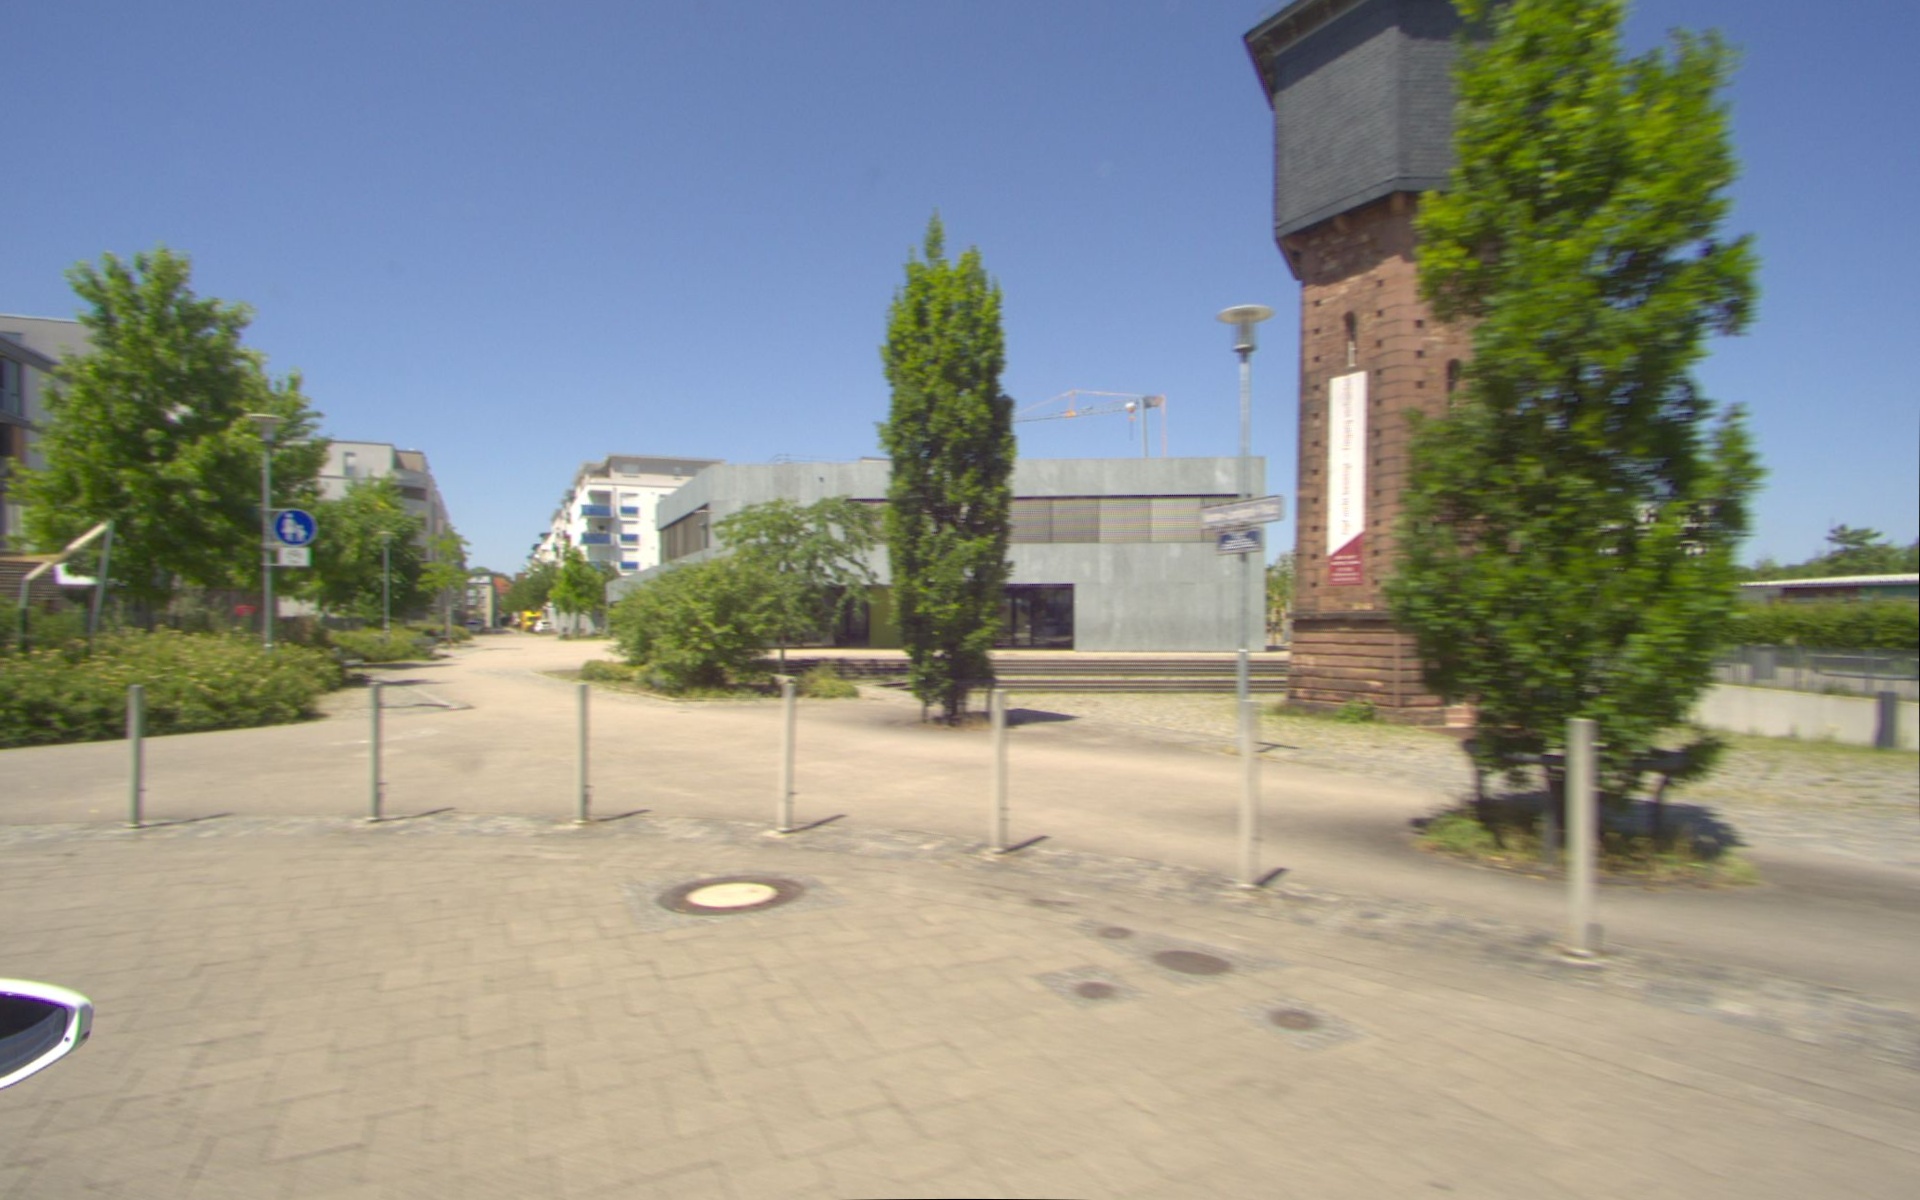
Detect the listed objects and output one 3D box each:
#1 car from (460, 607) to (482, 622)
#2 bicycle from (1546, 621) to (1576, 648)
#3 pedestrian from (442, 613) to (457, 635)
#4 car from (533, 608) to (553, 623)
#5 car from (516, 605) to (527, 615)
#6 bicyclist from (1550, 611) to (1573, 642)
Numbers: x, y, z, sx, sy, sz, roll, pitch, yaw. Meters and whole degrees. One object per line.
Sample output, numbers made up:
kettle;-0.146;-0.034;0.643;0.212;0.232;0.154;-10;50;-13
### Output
car;-56.581;1.727;116.010;2.119;1.673;4.074;0;-1;-24
bicycle;27.873;1.599;46.445;0.580;1.214;1.941;0;-1;11
pedestrian;-32.947;1.555;64.655;0.836;1.366;0.693;1;0;-25
car;-46.355;1.716;111.329;1.968;1.630;3.987;0;-1;-23
car;-86.498;1.980;197.451;1.969;2.040;3.985;0;-1;-25
bicyclist;27.930;1.228;46.503;0.719;1.453;0.660;0;0;11
